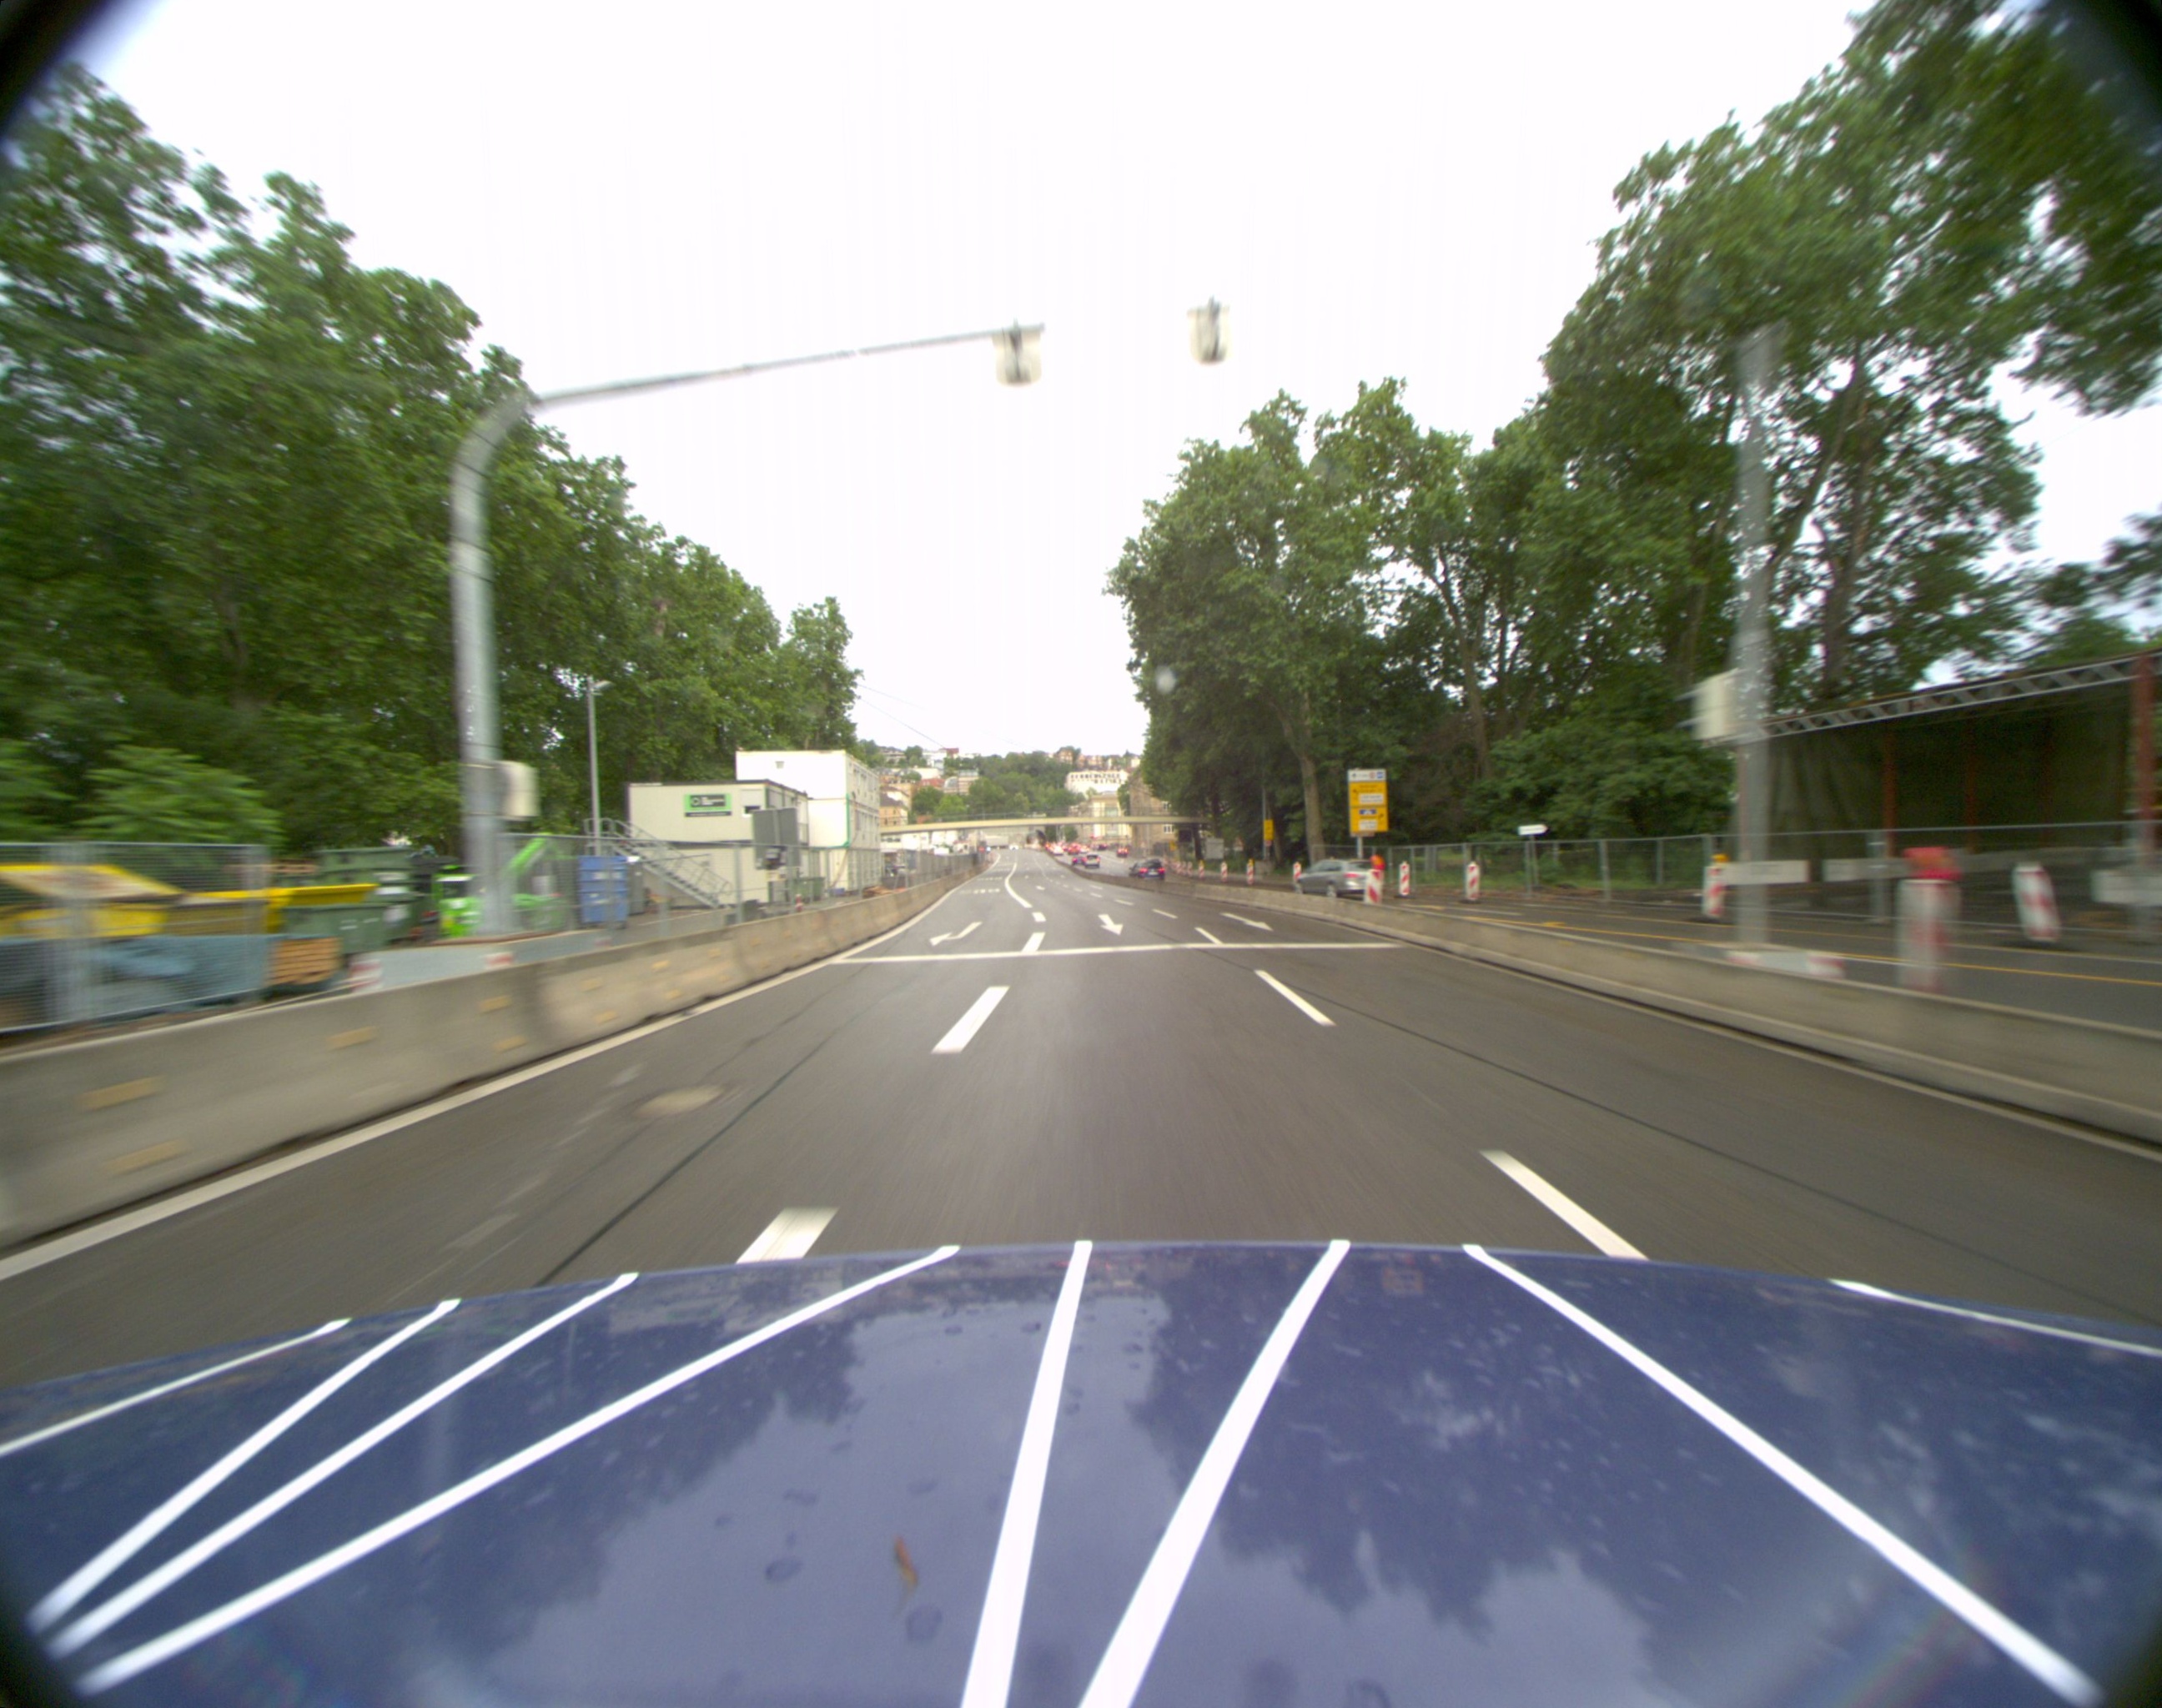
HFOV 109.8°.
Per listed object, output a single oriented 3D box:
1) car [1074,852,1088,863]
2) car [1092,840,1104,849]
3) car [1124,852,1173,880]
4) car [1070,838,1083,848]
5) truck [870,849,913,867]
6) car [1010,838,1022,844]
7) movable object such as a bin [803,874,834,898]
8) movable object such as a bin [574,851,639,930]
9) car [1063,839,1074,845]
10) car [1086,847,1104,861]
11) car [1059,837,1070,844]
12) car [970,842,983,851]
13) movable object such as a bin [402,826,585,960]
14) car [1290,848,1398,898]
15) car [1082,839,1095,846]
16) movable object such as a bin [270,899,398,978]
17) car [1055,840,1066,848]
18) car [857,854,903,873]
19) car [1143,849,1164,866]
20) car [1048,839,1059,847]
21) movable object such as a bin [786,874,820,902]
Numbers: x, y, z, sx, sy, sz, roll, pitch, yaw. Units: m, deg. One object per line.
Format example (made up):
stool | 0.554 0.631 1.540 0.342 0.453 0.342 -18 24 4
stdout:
car | -0.007 0.443 103.769 1.716 1.331 4.061 3 1 1
car | 4.230 -2.381 184.724 2.001 2.003 3.993 -1 3 -13
car | 4.195 0.716 48.078 2.000 1.532 4.574 -1 3 -10
car | -0.940 -2.324 154.632 2.037 1.926 5.038 0 3 -6
truck | -24.355 0.527 97.891 5.171 2.003 2.405 -2 3 -11
car | -17.971 -3.530 210.325 2.003 1.562 3.989 -2 3 -29
movable object such as a bin | -13.615 1.655 39.487 1.250 1.117 1.238 0 3 -6
movable object such as a bin | -14.013 1.053 22.509 1.463 2.190 1.262 -2 0 -29
car | -2.961 -2.761 177.390 2.000 1.375 4.206 0 3 -9
car | 1.710 0.008 93.743 2.036 1.644 4.909 0 1 -1
car | -3.948 -3.173 183.490 2.000 1.547 4.206 -1 3 -10
car | -19.921 -1.392 145.328 1.837 1.433 4.410 -3 3 -1
movable object such as a bin | -13.916 0.865 18.317 1.813 2.793 3.863 -3 0 -10
car | 9.707 0.639 28.448 2.000 1.532 4.440 0 3 -8
car | 1.621 -2.431 161.668 2.000 1.375 4.206 -1 3 -10
movable object such as a bin | -14.124 1.582 14.404 1.178 1.336 1.266 -3 0 14
car | -4.145 -2.044 152.580 1.899 1.559 4.893 0 3 -6
car | -21.270 0.960 80.698 4.513 1.718 1.998 -3 2 -10
car | 7.371 0.311 78.010 1.873 1.533 4.089 0 3 2
car | -6.537 -2.585 179.224 2.000 1.559 5.376 0 3 -7
movable object such as a bin | -13.261 1.594 36.312 1.250 1.230 1.238 0 3 -6
